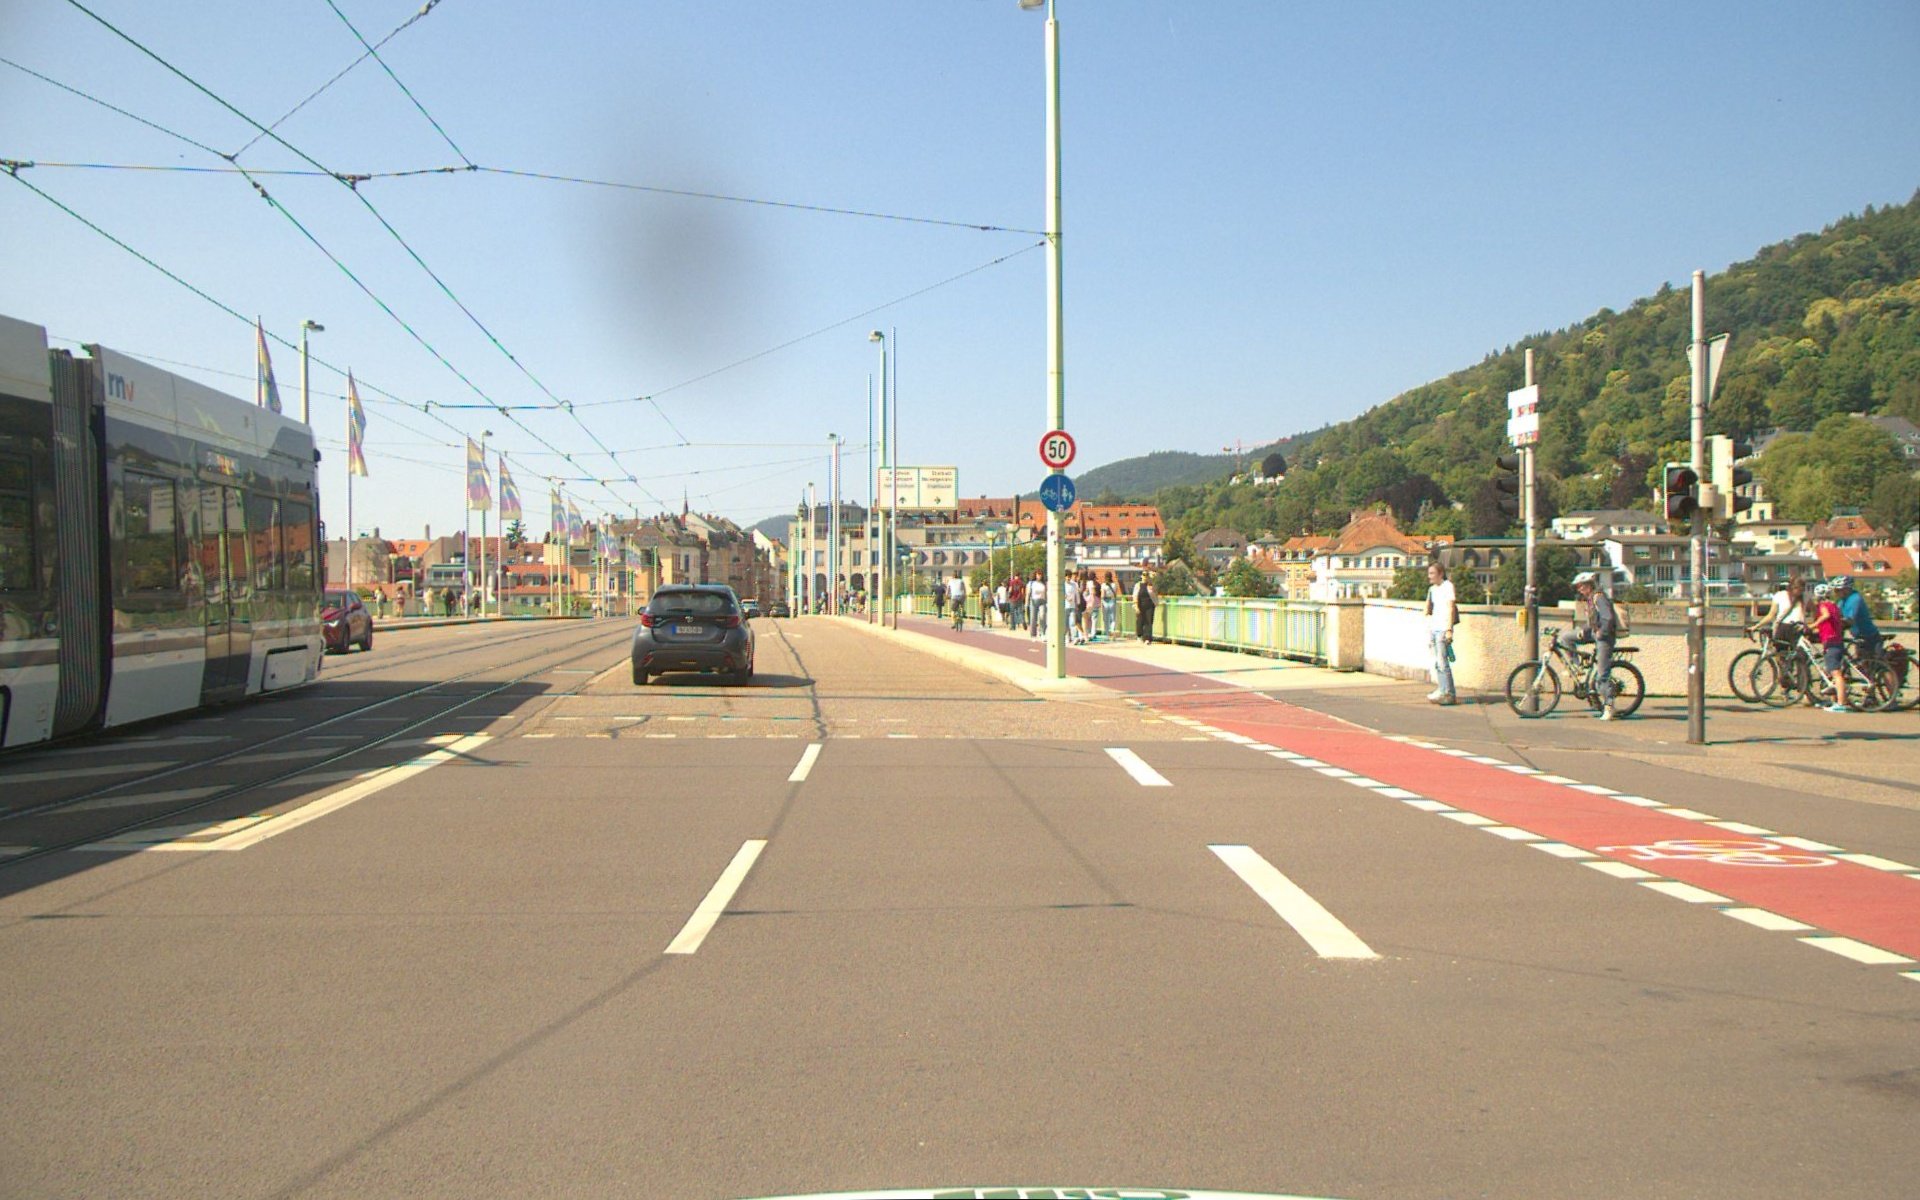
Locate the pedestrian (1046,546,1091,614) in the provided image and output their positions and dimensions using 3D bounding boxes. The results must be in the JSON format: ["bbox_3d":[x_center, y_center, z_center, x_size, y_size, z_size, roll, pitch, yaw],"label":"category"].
[{"bbox_3d":[3.121,-0.566,47.816,0.968,1.928,1.250,0,-1,-13],"label":"pedestrian"}]

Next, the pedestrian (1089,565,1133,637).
[{"bbox_3d":[3.622,0.027,39.794,0.819,1.706,0.882,0,-1,-13],"label":"pedestrian"}]

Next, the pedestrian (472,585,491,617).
[{"bbox_3d":[-31.288,0.060,108.165,1.077,2.049,1.292,0,0,-10],"label":"pedestrian"}]

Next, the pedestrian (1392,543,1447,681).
[{"bbox_3d":[6.055,0.157,21.806,0.523,1.791,0.576,0,0,-4],"label":"pedestrian"}]

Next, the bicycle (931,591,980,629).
[{"bbox_3d":[-0.156,0.288,50.709,0.778,1.115,3.734,1,0,-11],"label":"bicycle"}]

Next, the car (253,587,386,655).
[{"bbox_3d":[-15.300,0.493,39.721,1.955,1.541,4.184,0,0,-6],"label":"car"}]

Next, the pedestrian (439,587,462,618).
[{"bbox_3d":[-30.213,0.138,98.156,1.077,1.789,1.292,2,0,-10],"label":"pedestrian"}]

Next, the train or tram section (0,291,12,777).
[{"bbox_3d":[-8.440,-0.421,7.994,2.355,3.745,9.617,-1,1,-2],"label":"train or tram section"}]

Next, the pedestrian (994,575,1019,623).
[{"bbox_3d":[1.572,-0.037,56.132,0.638,1.589,0.689,-2,1,-14],"label":"pedestrian"}]

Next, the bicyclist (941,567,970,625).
[{"bbox_3d":[-0.155,-0.123,50.708,0.661,1.774,1.147,-1,0,-12],"label":"bicyclist"}]

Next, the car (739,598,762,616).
[{"bbox_3d":[-18.446,0.613,145.541,1.771,1.494,3.990,-2,0,-10],"label":"car"}]

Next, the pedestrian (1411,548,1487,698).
[{"bbox_3d":[6.265,0.290,21.218,0.758,1.888,0.644,0,0,-5],"label":"pedestrian"}]

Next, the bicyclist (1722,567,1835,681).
[{"bbox_3d":[11.124,0.311,22.504,1.058,1.499,0.928,1,0,-1],"label":"bicyclist"}]

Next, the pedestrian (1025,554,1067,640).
[{"bbox_3d":[2.073,-0.065,40.028,0.789,2.049,0.951,0,-1,-13],"label":"pedestrian"}]

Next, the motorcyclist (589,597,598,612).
[{"bbox_3d":[-39.763,0.501,179.496,0.785,1.576,1.067,0,-1,-8],"label":"motorcyclist"}]

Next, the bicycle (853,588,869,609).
[{"bbox_3d":[-6.000,-0.073,99.806,0.682,1.214,2.073,-1,-1,-11],"label":"bicycle"}]

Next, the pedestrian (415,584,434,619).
[{"bbox_3d":[-31.504,0.089,97.245,0.952,2.049,1.098,0,0,-13],"label":"pedestrian"}]

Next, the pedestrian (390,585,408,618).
[{"bbox_3d":[-30.320,0.084,89.406,0.740,1.752,1.173,0,-1,-10],"label":"pedestrian"}]

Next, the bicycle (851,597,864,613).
[{"bbox_3d":[-6.603,0.331,106.569,0.607,1.056,2.047,0,0,-9],"label":"bicycle"}]

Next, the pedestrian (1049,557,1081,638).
[{"bbox_3d":[2.399,-0.059,37.813,0.539,1.830,0.644,0,-1,-13],"label":"pedestrian"}]

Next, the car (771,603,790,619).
[{"bbox_3d":[-17.826,1.081,164.456,1.769,1.494,3.995,-2,0,-5],"label":"car"}]

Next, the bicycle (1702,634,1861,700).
[{"bbox_3d":[11.176,0.903,22.530,1.900,0.841,0.565,1,0,-3],"label":"bicycle"}]

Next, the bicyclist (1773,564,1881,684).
[{"bbox_3d":[11.178,0.301,21.353,1.057,1.499,0.763,1,0,14],"label":"bicyclist"}]

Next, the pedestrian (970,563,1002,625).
[{"bbox_3d":[0.868,-0.194,55.727,0.859,2.049,1.055,0,-1,-13],"label":"pedestrian"}]

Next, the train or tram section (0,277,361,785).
[{"bbox_3d":[-9.229,-0.587,18.211,2.423,3.843,11.830,-1,1,-8],"label":"train or tram section"}]

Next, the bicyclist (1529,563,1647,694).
[{"bbox_3d":[7.425,0.325,19.592,1.058,1.499,0.800,1,0,-3],"label":"bicyclist"}]

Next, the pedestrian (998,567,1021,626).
[{"bbox_3d":[1.518,-0.106,51.051,0.575,1.825,0.630,0,-1,-12],"label":"pedestrian"}]

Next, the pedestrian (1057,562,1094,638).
[{"bbox_3d":[2.676,0.010,38.399,0.683,1.746,0.729,0,-1,-13],"label":"pedestrian"}]

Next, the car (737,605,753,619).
[{"bbox_3d":[-26.917,1.475,206.985,1.957,1.747,3.991,0,0,-9],"label":"car"}]

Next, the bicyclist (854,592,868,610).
[{"bbox_3d":[-5.927,0.038,99.297,0.655,1.063,0.977,1,0,-14],"label":"bicyclist"}]

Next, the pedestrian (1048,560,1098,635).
[{"bbox_3d":[2.707,-0.061,39.626,0.968,1.781,0.927,0,-1,-13],"label":"pedestrian"}]

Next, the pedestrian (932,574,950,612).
[{"bbox_3d":[-0.886,-0.351,77.910,0.643,1.774,0.975,0,1,-14],"label":"pedestrian"}]

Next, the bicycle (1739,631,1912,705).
[{"bbox_3d":[11.170,0.864,21.402,1.898,0.868,0.565,1,0,16],"label":"bicycle"}]

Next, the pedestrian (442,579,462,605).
[{"bbox_3d":[-33.603,-0.534,109.440,1.077,1.759,1.292,1,0,-11],"label":"pedestrian"}]

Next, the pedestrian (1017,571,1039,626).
[{"bbox_3d":[2.096,-0.044,51.178,0.514,1.678,0.697,0,-1,-13],"label":"pedestrian"}]

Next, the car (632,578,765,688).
[{"bbox_3d":[-4.118,0.474,25.978,1.875,1.567,3.991,1,0,-10],"label":"car"}]

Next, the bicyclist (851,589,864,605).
[{"bbox_3d":[-6.605,-0.197,106.522,0.721,1.048,1.173,0,0,-9],"label":"bicyclist"}]

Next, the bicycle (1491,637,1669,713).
[{"bbox_3d":[7.347,0.890,19.626,1.900,0.841,0.565,1,0,-3],"label":"bicycle"}]

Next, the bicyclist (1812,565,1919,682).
[{"bbox_3d":[12.051,0.301,21.875,1.057,1.499,0.928,1,0,1],"label":"bicyclist"}]

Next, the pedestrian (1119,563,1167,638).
[{"bbox_3d":[4.137,0.005,37.429,0.785,1.663,0.946,-1,0,-13],"label":"pedestrian"}]

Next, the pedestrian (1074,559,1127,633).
[{"bbox_3d":[3.555,-0.107,41.808,0.968,1.800,1.250,-1,0,-13],"label":"pedestrian"}]
